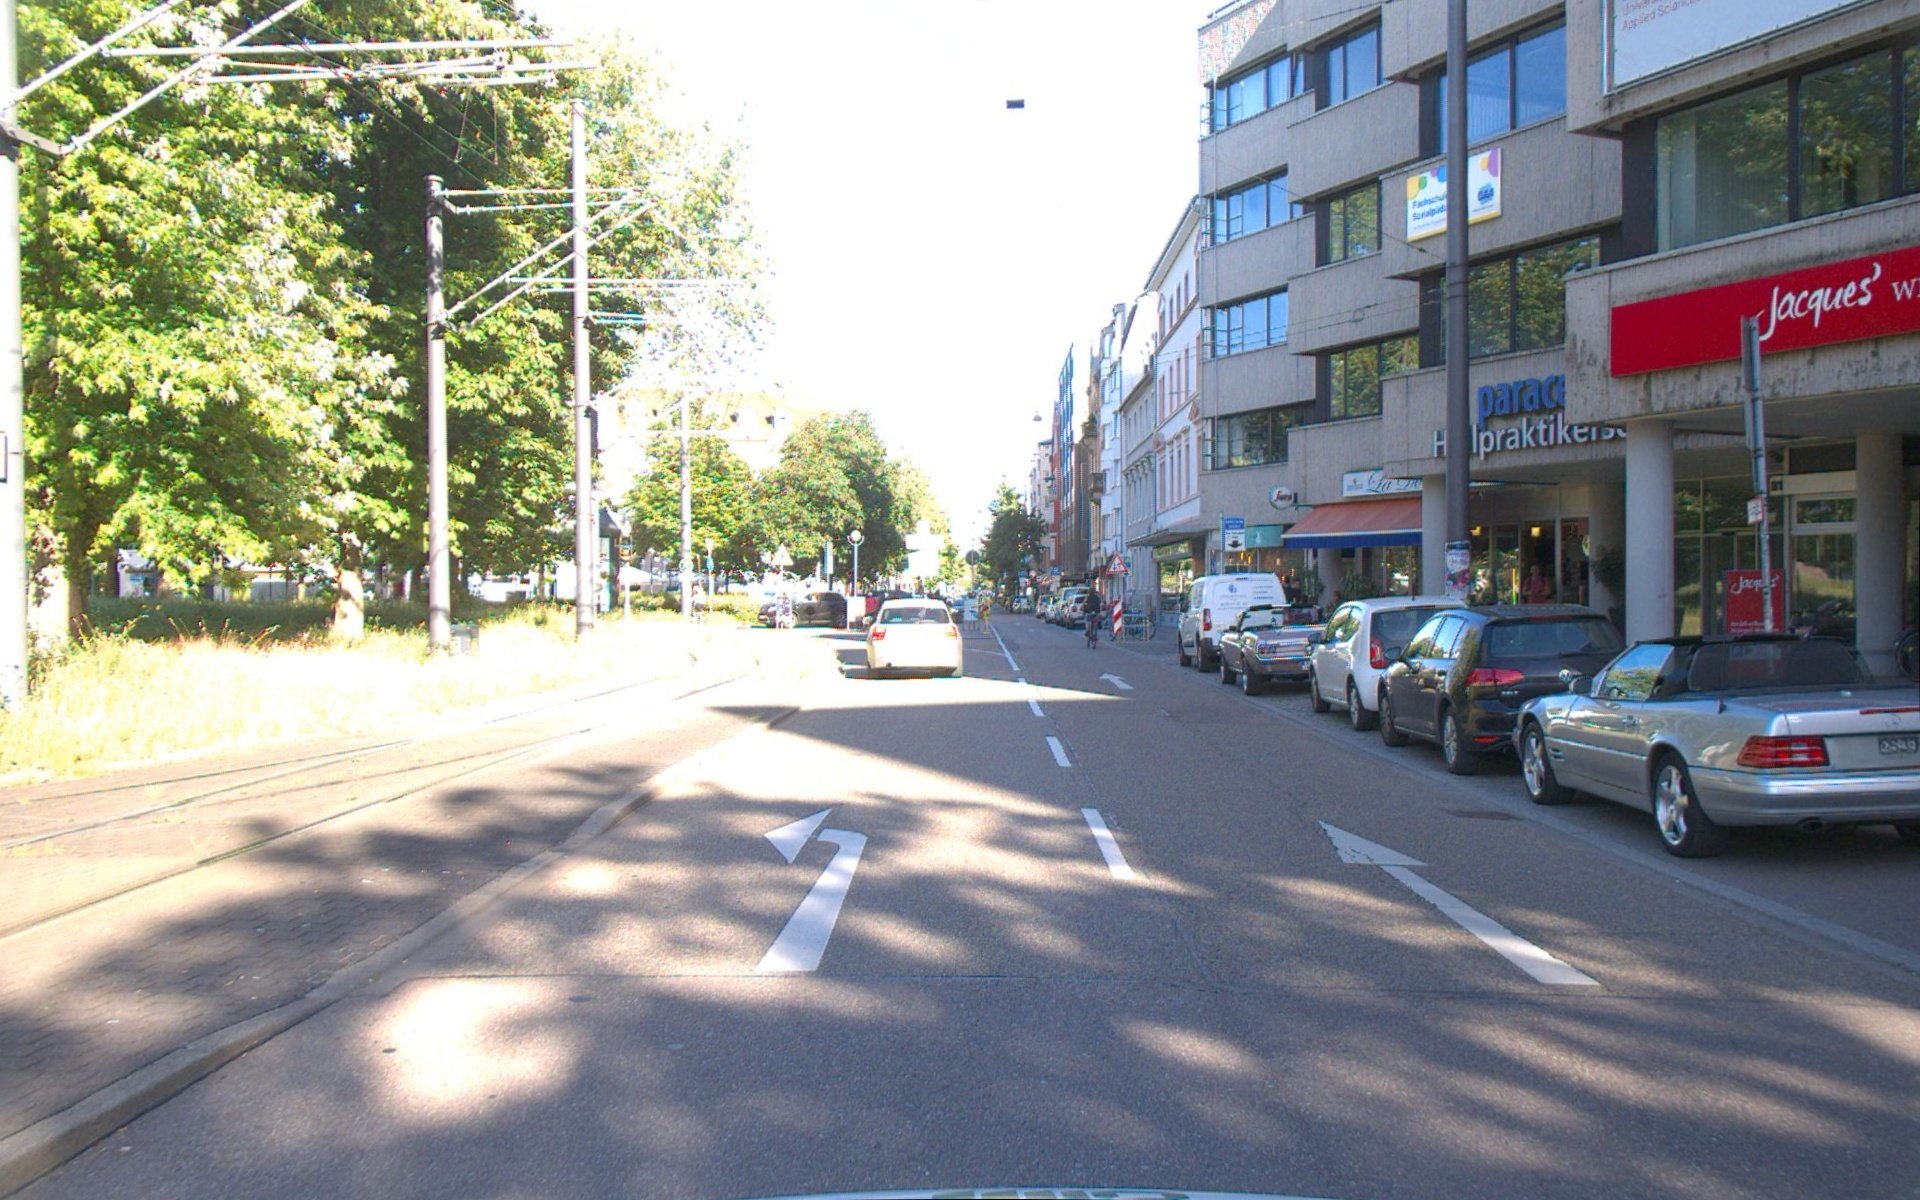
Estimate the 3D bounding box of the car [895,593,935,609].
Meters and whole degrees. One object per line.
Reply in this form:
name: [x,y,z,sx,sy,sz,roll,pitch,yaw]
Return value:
car: [-4.527,0.111,167.576,3.904,1.534,1.895,1,-1,1]

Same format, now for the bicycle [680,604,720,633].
bicycle: [-10.198,0.716,64.878,0.800,1.087,2.561,2,-1,-26]

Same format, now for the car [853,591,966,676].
car: [-0.917,0.618,31.131,1.953,1.448,4.195,1,-1,-1]

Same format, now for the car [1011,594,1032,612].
car: [5.895,0.307,158.904,1.952,1.646,4.011,2,-1,3]

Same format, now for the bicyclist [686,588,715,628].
bicyclist: [-10.183,0.307,64.881,0.918,1.534,0.818,2,-1,-27]

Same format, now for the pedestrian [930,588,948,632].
pedestrian: [-0.813,0.387,64.219,0.623,1.701,0.692,1,-1,1]

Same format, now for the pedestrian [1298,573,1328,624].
pedestrian: [8.901,-0.035,41.680,0.616,1.258,0.625,-2,-1,4]

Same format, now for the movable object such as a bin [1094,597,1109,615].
movable object such as a bin: [9.126,0.398,106.738,0.858,1.143,0.828,1,-1,0]

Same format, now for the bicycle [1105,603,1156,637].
bicycle: [5.718,0.667,55.423,1.644,1.081,0.344,1,-1,16]

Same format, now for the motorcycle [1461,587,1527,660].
motorcycle: [9.154,0.406,28.406,0.747,1.175,2.049,-2,-2,10]

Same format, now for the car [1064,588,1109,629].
car: [5.812,0.423,76.512,1.709,1.769,4.960,1,-1,0]

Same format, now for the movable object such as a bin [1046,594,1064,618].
movable object such as a bin: [6.166,0.399,107.194,1.051,1.482,1.493,-3,1,5]

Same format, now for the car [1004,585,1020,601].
car: [6.797,-0.920,215.129,1.953,2.049,4.000,1,0,0]

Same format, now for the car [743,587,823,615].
car: [-12.433,0.078,116.269,5.199,1.831,2.145,2,-1,-27]

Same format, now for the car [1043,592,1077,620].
car: [5.838,0.384,96.685,1.683,1.541,3.582,-2,-1,0]

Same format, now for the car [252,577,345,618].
car: [-41.125,-0.150,102.886,5.263,2.354,1.986,2,-1,-23]

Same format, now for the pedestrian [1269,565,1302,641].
pedestrian: [8.204,0.079,41.662,0.657,1.888,0.610,-2,-1,4]

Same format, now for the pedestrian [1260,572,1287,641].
pedestrian: [8.061,0.160,42.487,0.571,1.744,0.698,1,-1,3]

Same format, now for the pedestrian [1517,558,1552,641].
pedestrian: [12.866,-0.009,37.047,0.688,1.848,0.717,1,-1,16]

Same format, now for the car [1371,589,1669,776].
car: [5.255,0.727,16.075,1.636,1.545,4.200,1,-1,3]

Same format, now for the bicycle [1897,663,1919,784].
bicycle: [7.606,0.932,11.779,0.524,0.907,2.067,1,-1,-6]

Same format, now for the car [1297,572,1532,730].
car: [5.452,0.600,20.345,1.813,1.718,3.867,1,-1,0]

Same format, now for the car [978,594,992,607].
car: [3.166,0.037,209.219,1.832,1.583,4.000,1,-1,1]

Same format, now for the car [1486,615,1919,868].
car: [5.256,0.824,11.392,1.813,1.367,4.599,1,-1,0]

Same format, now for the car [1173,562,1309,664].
car: [5.516,0.275,32.989,1.953,1.844,4.309,1,-1,0]

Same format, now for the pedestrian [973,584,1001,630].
pedestrian: [1.013,0.270,62.652,0.791,1.729,0.666,0,-2,42]

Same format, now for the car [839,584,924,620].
car: [-3.978,0.118,83.172,3.922,1.697,1.992,2,0,-16]

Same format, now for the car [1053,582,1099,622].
car: [6.063,0.088,86.978,1.953,2.040,5.116,0,0,-1]

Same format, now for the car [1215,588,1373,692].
car: [5.240,0.576,26.502,1.737,1.479,4.732,1,0,2]

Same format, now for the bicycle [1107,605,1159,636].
bicycle: [5.834,0.690,55.788,1.667,1.022,0.428,1,-1,16]

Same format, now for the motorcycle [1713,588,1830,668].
motorcycle: [12.911,0.427,26.384,0.502,1.188,2.096,1,1,-11]

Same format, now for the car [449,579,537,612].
car: [-31.800,-0.277,112.572,5.508,2.049,1.802,2,-1,-27]

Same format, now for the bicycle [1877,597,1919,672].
bicycle: [13.521,0.482,22.439,1.820,0.998,0.679,2,0,35]

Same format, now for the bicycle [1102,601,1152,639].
bicycle: [5.777,0.688,57.250,1.588,1.265,0.659,1,-1,21]

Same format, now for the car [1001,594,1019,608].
car: [5.807,0.112,191.312,1.953,1.478,4.000,1,0,0]

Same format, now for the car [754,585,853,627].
car: [-6.520,0.247,69.171,3.838,1.711,1.784,0,-1,-42]

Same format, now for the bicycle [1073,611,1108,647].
bicycle: [3.685,0.821,46.931,0.639,0.975,2.696,1,-1,-2]

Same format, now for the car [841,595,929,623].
car: [-4.294,0.521,94.631,4.770,1.514,1.752,2,-1,-24]

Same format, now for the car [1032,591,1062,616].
car: [6.200,0.253,117.891,1.860,1.704,4.824,1,-1,0]

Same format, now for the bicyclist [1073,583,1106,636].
bicyclist: [3.677,0.264,47.053,0.770,1.478,1.095,1,-1,-3]

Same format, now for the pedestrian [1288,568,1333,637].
pedestrian: [9.026,0.055,42.584,0.831,1.740,0.713,-2,0,-28]

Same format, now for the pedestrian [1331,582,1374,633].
pedestrian: [10.525,0.201,44.341,0.826,1.315,0.829,-2,-1,-12]
